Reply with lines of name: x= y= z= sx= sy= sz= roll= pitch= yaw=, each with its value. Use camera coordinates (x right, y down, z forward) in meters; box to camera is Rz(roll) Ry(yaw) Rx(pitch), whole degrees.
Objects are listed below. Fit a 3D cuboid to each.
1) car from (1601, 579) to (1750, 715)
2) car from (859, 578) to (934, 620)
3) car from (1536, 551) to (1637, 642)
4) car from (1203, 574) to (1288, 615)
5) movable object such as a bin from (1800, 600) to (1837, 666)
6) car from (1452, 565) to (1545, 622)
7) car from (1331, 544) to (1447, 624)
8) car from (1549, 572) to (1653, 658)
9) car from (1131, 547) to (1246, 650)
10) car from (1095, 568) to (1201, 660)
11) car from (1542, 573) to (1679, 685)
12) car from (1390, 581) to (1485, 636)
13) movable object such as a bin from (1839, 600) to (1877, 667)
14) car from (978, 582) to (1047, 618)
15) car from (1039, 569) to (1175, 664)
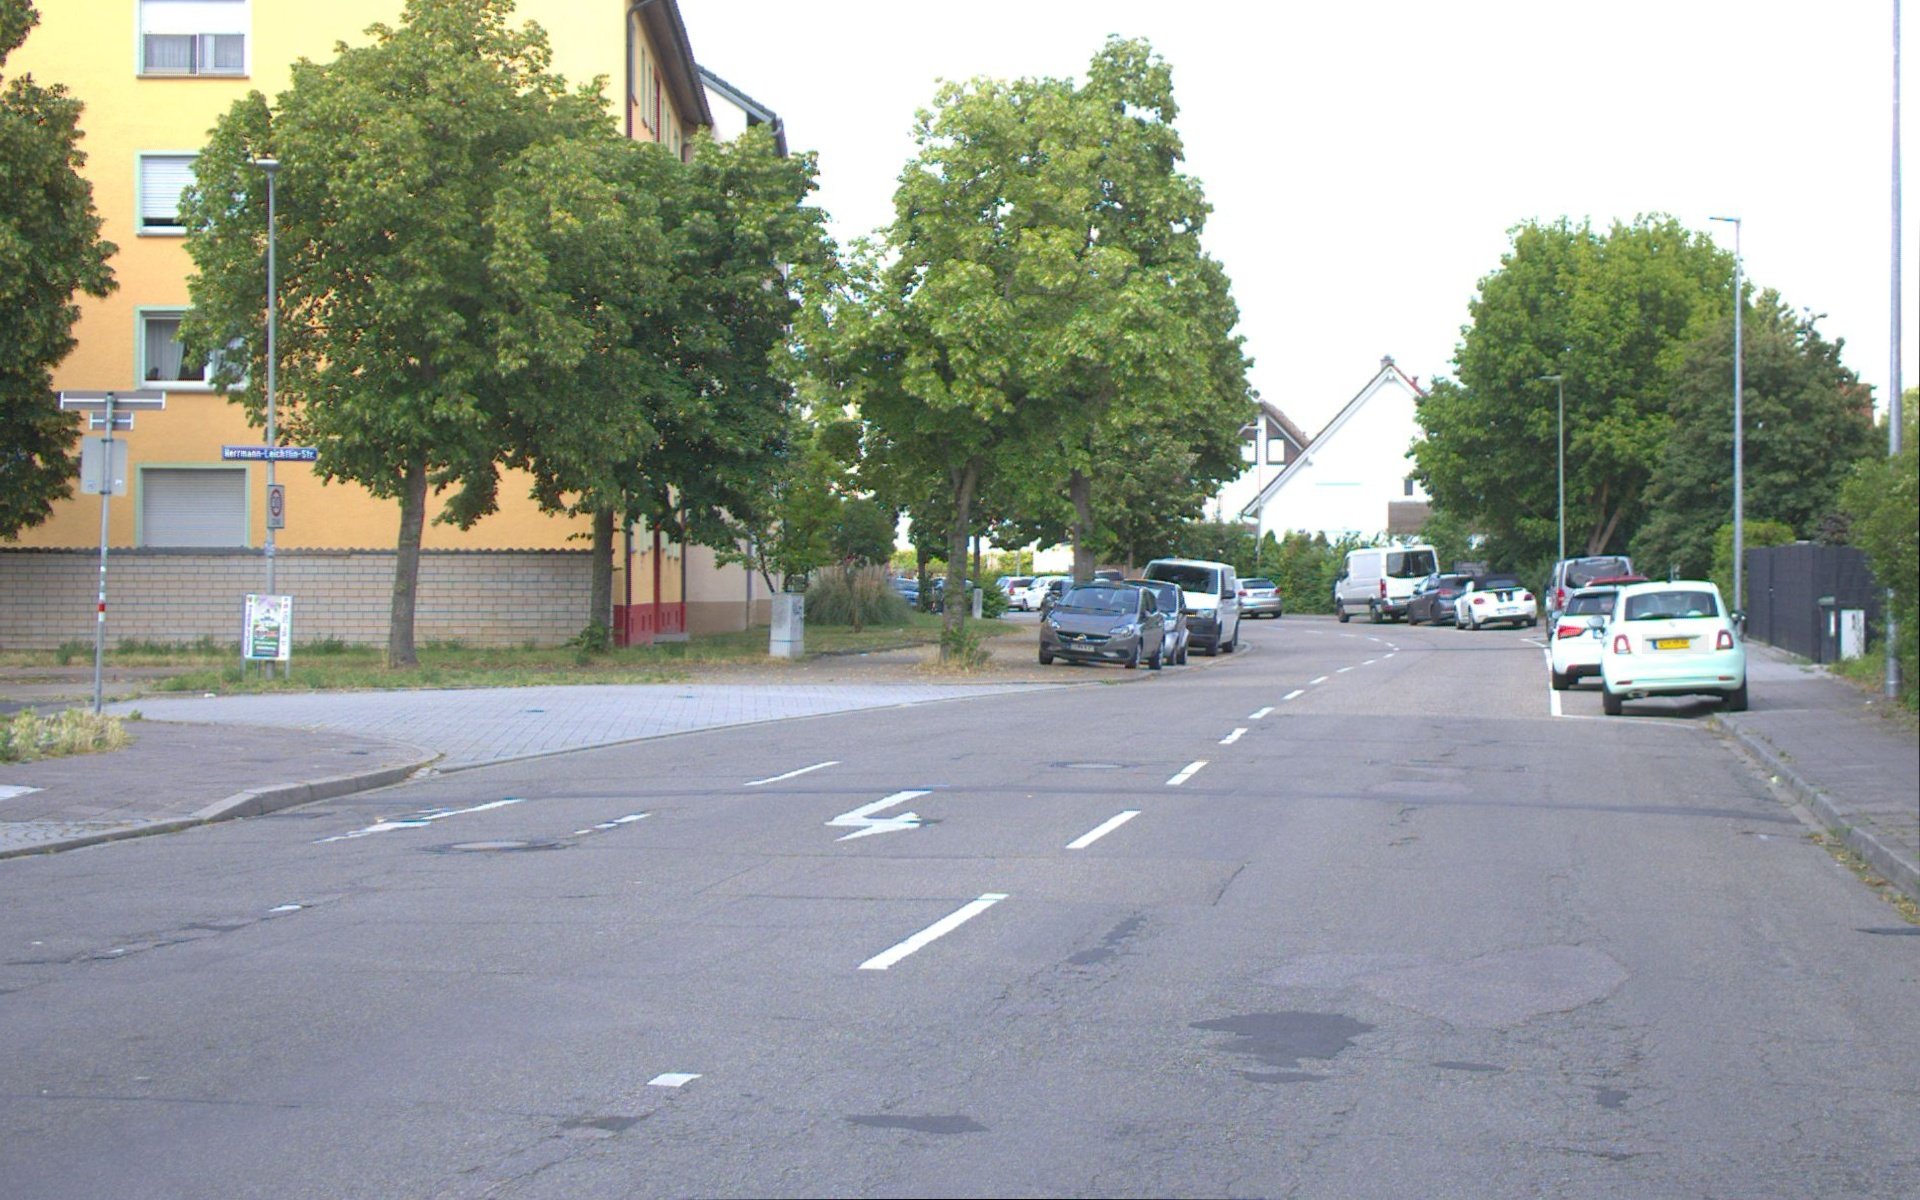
car: x=8.377 y=0.519 z=40.446 sx=1.582 sy=1.515 sz=3.754 roll=0 pitch=0 yaw=10
car: x=-2.478 y=-0.026 z=132.937 sx=1.786 sy=1.452 sz=4.436 roll=4 pitch=-1 yaw=-15
car: x=14.190 y=-0.087 z=78.094 sx=1.843 sy=1.938 sz=4.875 roll=-2 pitch=0 yaw=6
car: x=10.144 y=-0.201 z=122.603 sx=1.737 sy=1.452 sz=4.366 roll=0 pitch=0 yaw=-13
movable object such as a bin: x=13.505 y=0.517 z=54.089 sx=0.516 sy=1.035 sz=0.630 roll=0 pitch=0 yaw=10
car: x=14.698 y=-0.187 z=93.994 sx=1.740 sy=1.507 sz=4.459 roll=0 pitch=0 yaw=-1
car: x=13.449 y=-0.507 z=108.070 sx=2.117 sy=2.433 sz=5.896 roll=0 pitch=0 yaw=-8
car: x=12.128 y=0.263 z=65.288 sx=1.850 sy=1.574 sz=4.731 roll=0 pitch=0 yaw=10
car: x=4.939 y=-0.061 z=73.656 sx=1.880 sy=2.002 sz=5.320 roll=4 pitch=1 yaw=9
car: x=3.605 y=0.244 z=65.370 sx=1.518 sy=1.544 sz=3.754 roll=5 pitch=1 yaw=9
car: x=9.037 y=0.379 z=47.598 sx=1.722 sy=1.481 sz=3.747 roll=0 pitch=0 yaw=13
car: x=14.078 y=0.242 z=101.466 sx=1.717 sy=1.580 sz=4.125 roll=0 pitch=0 yaw=-8
movable object such as a bin: x=14.102 y=0.524 z=53.992 sx=0.516 sy=1.035 sz=0.630 roll=0 pitch=0 yaw=10
car: x=2.282 y=-0.021 z=149.787 sx=1.794 sy=1.518 sz=3.974 roll=0 pitch=0 yaw=-18
car: x=2.556 y=0.308 z=59.006 sx=1.684 sy=1.481 sz=3.981 roll=3 pitch=-1 yaw=11
